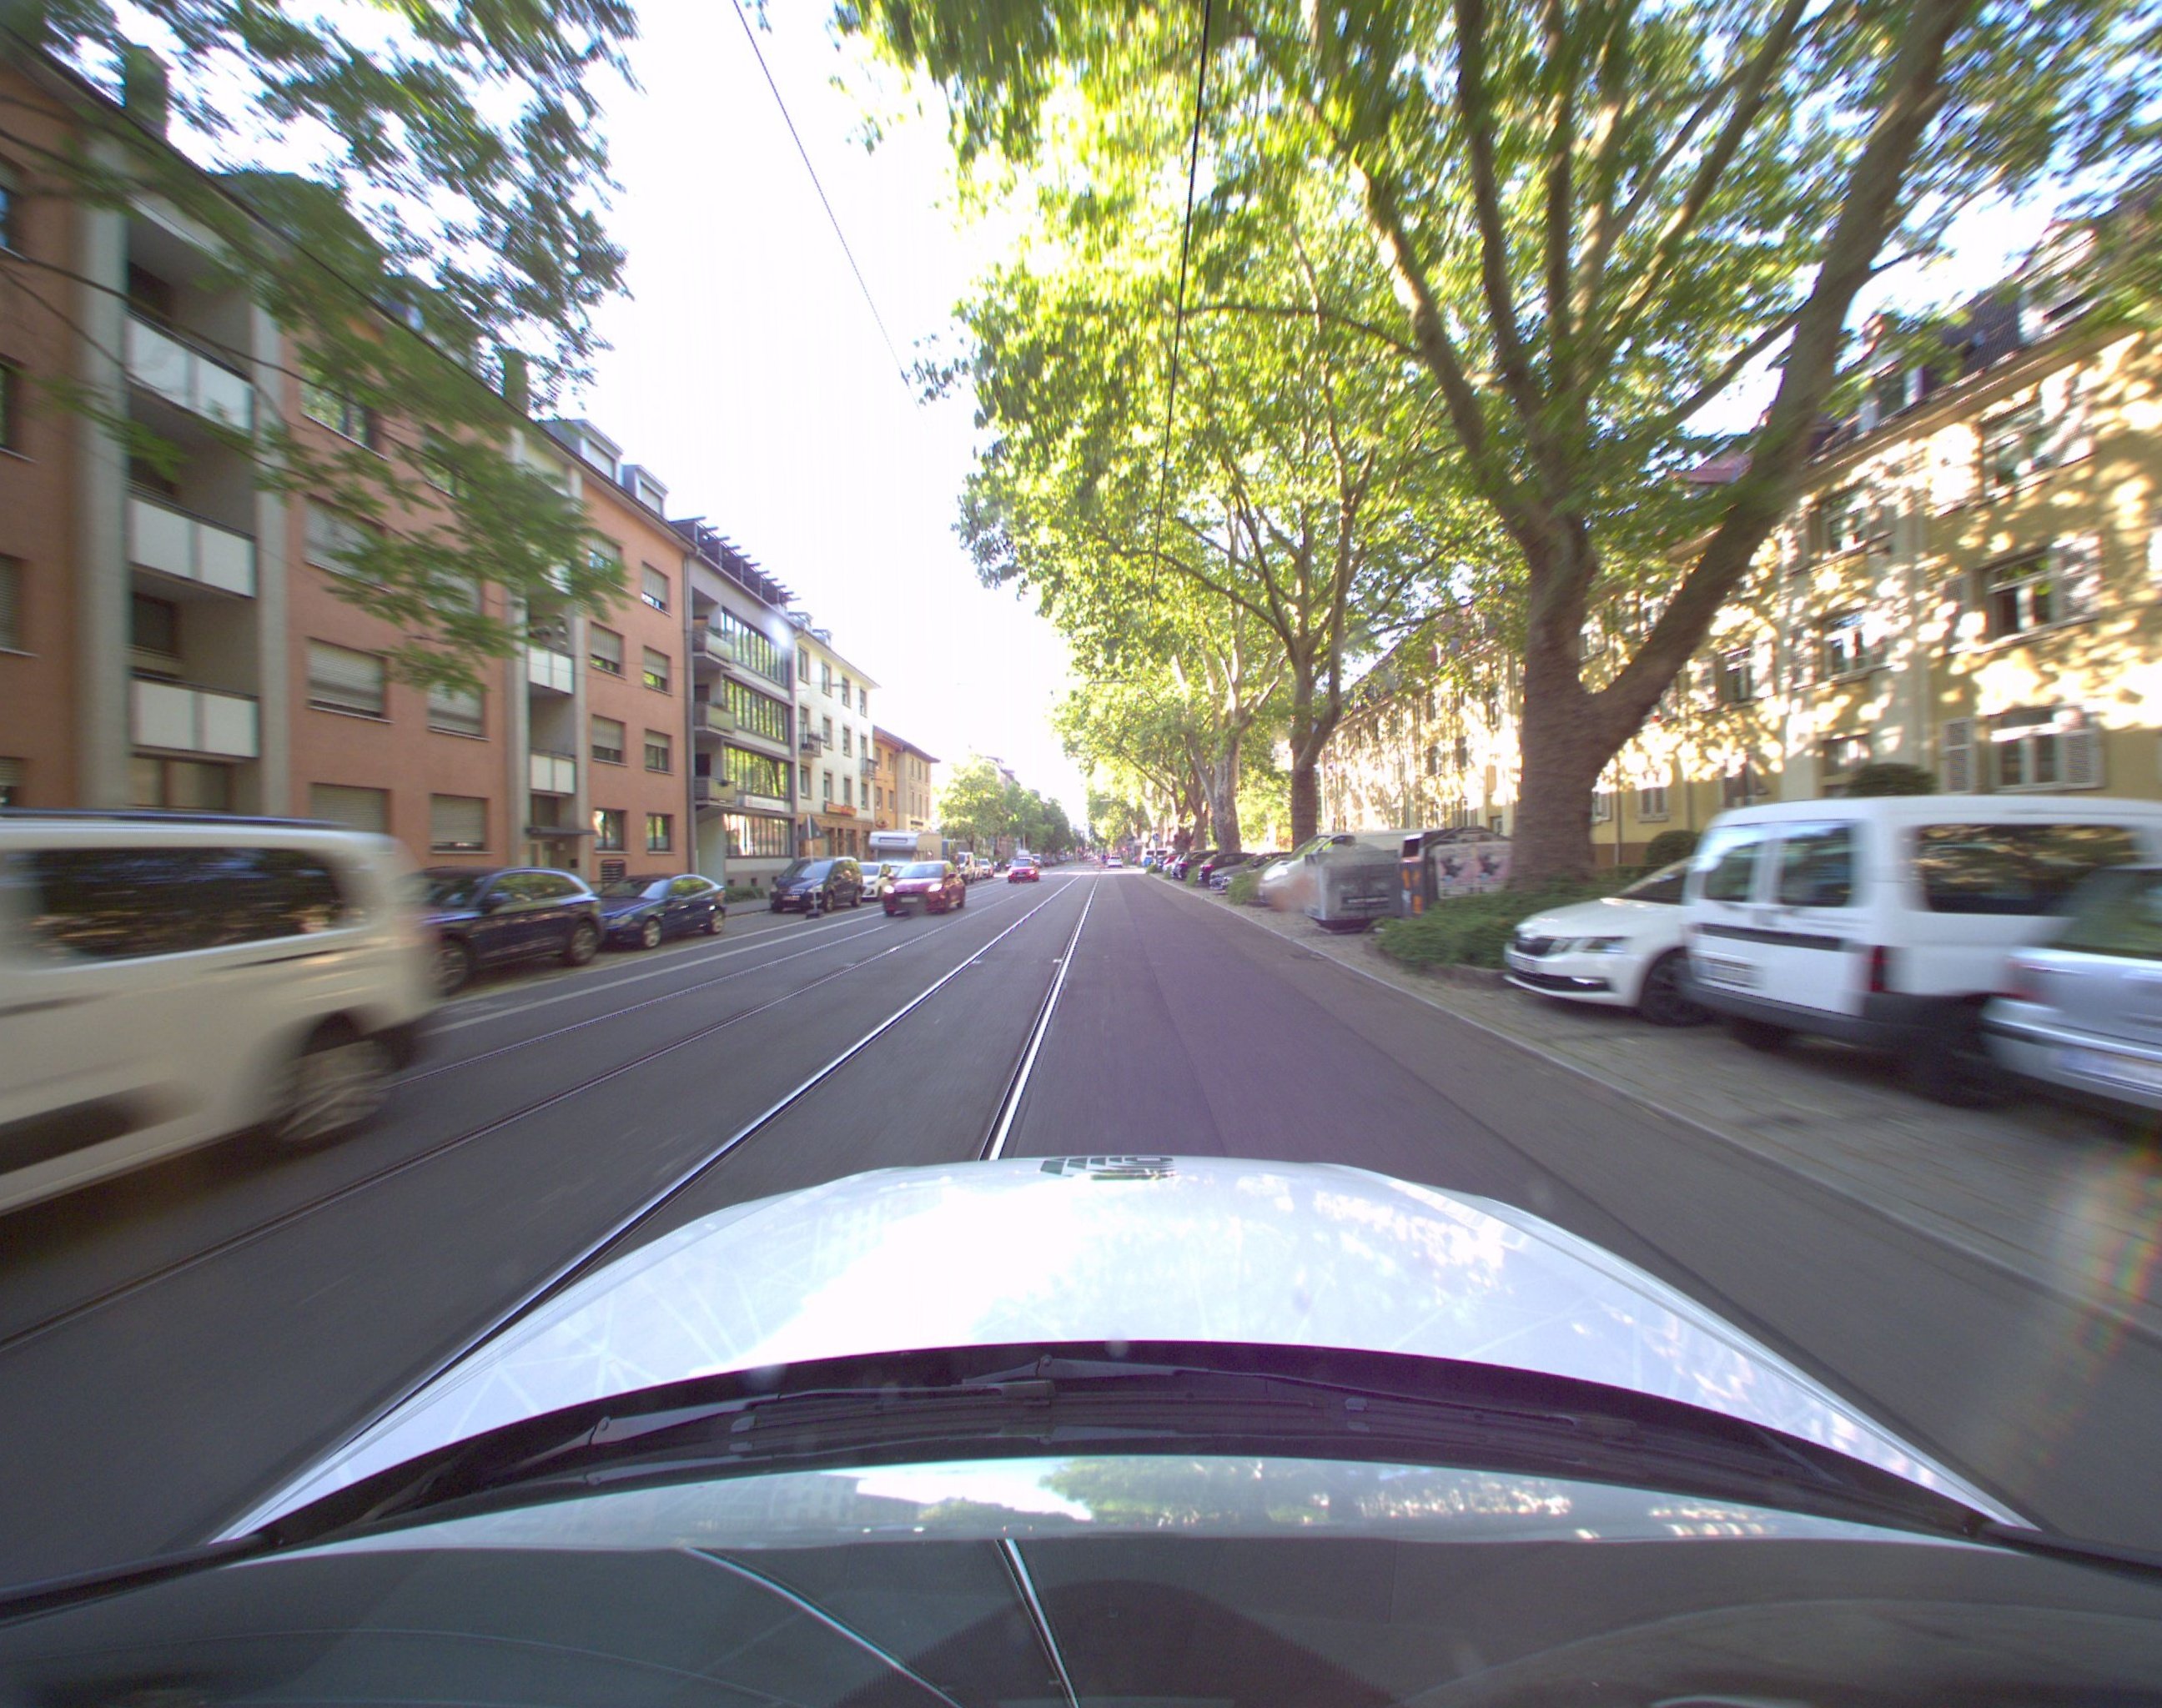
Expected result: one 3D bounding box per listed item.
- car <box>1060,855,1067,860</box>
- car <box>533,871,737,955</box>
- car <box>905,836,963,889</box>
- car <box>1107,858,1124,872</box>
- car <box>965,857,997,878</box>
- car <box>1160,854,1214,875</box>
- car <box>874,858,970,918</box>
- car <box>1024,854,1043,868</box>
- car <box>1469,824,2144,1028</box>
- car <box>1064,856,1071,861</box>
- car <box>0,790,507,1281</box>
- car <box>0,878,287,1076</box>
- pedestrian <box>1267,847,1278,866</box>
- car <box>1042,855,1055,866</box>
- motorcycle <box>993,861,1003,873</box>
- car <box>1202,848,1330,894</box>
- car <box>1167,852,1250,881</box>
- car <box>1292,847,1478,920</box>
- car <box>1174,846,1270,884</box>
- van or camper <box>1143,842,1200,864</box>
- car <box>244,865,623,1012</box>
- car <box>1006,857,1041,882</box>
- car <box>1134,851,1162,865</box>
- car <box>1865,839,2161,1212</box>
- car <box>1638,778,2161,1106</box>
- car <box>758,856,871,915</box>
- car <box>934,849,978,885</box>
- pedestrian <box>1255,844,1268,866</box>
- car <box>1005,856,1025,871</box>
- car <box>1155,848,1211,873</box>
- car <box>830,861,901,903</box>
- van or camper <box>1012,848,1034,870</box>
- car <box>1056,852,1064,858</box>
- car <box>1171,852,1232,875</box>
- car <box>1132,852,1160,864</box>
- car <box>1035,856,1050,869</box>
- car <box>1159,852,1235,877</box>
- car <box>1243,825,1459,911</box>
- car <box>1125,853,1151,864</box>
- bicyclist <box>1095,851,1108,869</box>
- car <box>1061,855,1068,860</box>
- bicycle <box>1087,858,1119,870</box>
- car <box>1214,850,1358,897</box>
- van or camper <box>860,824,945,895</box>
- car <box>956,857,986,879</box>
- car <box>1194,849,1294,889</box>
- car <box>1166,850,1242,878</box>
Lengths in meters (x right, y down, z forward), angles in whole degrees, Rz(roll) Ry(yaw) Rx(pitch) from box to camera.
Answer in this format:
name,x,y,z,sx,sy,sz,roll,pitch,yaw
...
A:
name,x,y,z,sx,sy,sz,roll,pitch,yaw
car,-4.775,1.012,224.214,1.912,1.419,3.589,-2,0,-1
car,-8.977,1.103,16.893,1.732,1.401,4.383,1,0,1
car,-8.130,0.454,45.558,2.079,2.731,5.311,1,0,2
car,4.071,1.274,96.996,1.911,1.584,3.792,-3,0,1
car,-7.599,0.998,62.154,1.830,1.468,5.068,1,0,0
car,7.544,0.715,58.021,3.636,1.378,1.891,-2,0,2
car,-4.467,0.909,23.475,1.769,1.458,4.204,-3,0,1
car,-6.593,0.929,113.234,2.165,1.861,4.661,-2,0,2
car,6.118,0.579,7.371,4.349,1.542,1.804,-2,1,5
car,-4.125,1.362,246.306,1.912,1.419,3.589,-2,0,-1
car,-4.986,0.701,3.175,1.884,1.832,4.897,-2,0,1
car,-9.387,0.994,6.572,1.799,1.478,4.092,1,0,3
pedestrian,14.871,0.168,63.161,0.659,1.455,0.821,-2,0,1
car,-5.754,1.133,143.573,1.986,1.745,4.661,-2,0,2
motorcycle,-8.652,1.319,85.236,0.760,1.107,2.331,-1,2,2
car,6.673,0.603,29.743,4.231,1.483,1.898,-2,0,1
car,6.968,0.658,44.766,4.281,1.439,1.948,-2,0,0
car,6.717,0.626,18.243,3.516,1.446,1.672,-2,0,-1
car,6.897,0.523,40.287,4.474,1.602,2.030,-3,0,5
van or camper,9.364,-0.147,84.182,5.543,2.013,2.242,-2,2,-3
car,-8.941,1.034,11.916,1.775,1.610,4.588,1,0,1
car,-3.516,0.925,50.318,1.717,1.437,4.070,-3,0,1
car,9.780,0.582,118.788,3.972,1.784,2.001,-2,0,1
car,6.135,0.626,3.380,3.825,1.433,1.854,-2,0,5
car,6.256,0.466,5.342,3.825,1.772,1.919,-2,0,5
car,-8.570,0.941,26.685,1.945,1.686,5.071,0,0,1
car,-7.839,0.756,51.613,1.946,2.091,5.248,2,1,0
pedestrian,14.277,0.095,64.423,0.757,1.739,0.821,-2,0,1
car,-7.204,0.993,89.322,1.781,1.587,4.344,1,0,1
car,7.521,0.463,60.248,3.911,1.670,1.960,-2,0,0
car,-8.506,1.053,32.433,1.704,1.488,3.862,1,0,1
van or camper,-7.027,0.578,98.560,2.071,2.533,5.320,-2,0,2
car,-4.918,0.264,191.876,1.912,1.419,3.720,-2,0,0
car,8.188,0.609,55.592,3.868,1.435,1.754,-2,0,1
car,9.633,0.595,121.076,3.972,1.784,2.001,-2,0,1
car,-5.980,1.352,127.642,1.986,1.861,4.180,-2,0,2
car,7.517,0.665,53.151,4.669,1.446,1.893,-2,0,1
car,6.777,0.341,20.834,4.822,1.963,2.064,-2,0,-1
car,8.907,0.709,126.664,3.972,1.521,2.001,-2,0,1
bicyclist,2.002,0.535,78.439,1.045,1.705,1.055,-2,0,-8
car,-4.583,1.029,228.458,1.914,1.419,3.586,-4,-1,-3
bicycle,2.092,0.981,78.443,2.946,1.105,1.049,-2,0,-8
car,6.663,0.641,26.861,4.375,1.380,1.807,-2,0,5
van or camper,-8.367,0.242,38.947,2.328,3.041,6.401,2,0,3
car,-7.763,0.984,57.675,1.565,1.526,3.043,0,0,4
car,6.681,0.598,33.653,3.824,1.509,1.711,-2,0,1
car,7.085,0.564,47.229,4.126,1.509,1.797,-2,0,2
